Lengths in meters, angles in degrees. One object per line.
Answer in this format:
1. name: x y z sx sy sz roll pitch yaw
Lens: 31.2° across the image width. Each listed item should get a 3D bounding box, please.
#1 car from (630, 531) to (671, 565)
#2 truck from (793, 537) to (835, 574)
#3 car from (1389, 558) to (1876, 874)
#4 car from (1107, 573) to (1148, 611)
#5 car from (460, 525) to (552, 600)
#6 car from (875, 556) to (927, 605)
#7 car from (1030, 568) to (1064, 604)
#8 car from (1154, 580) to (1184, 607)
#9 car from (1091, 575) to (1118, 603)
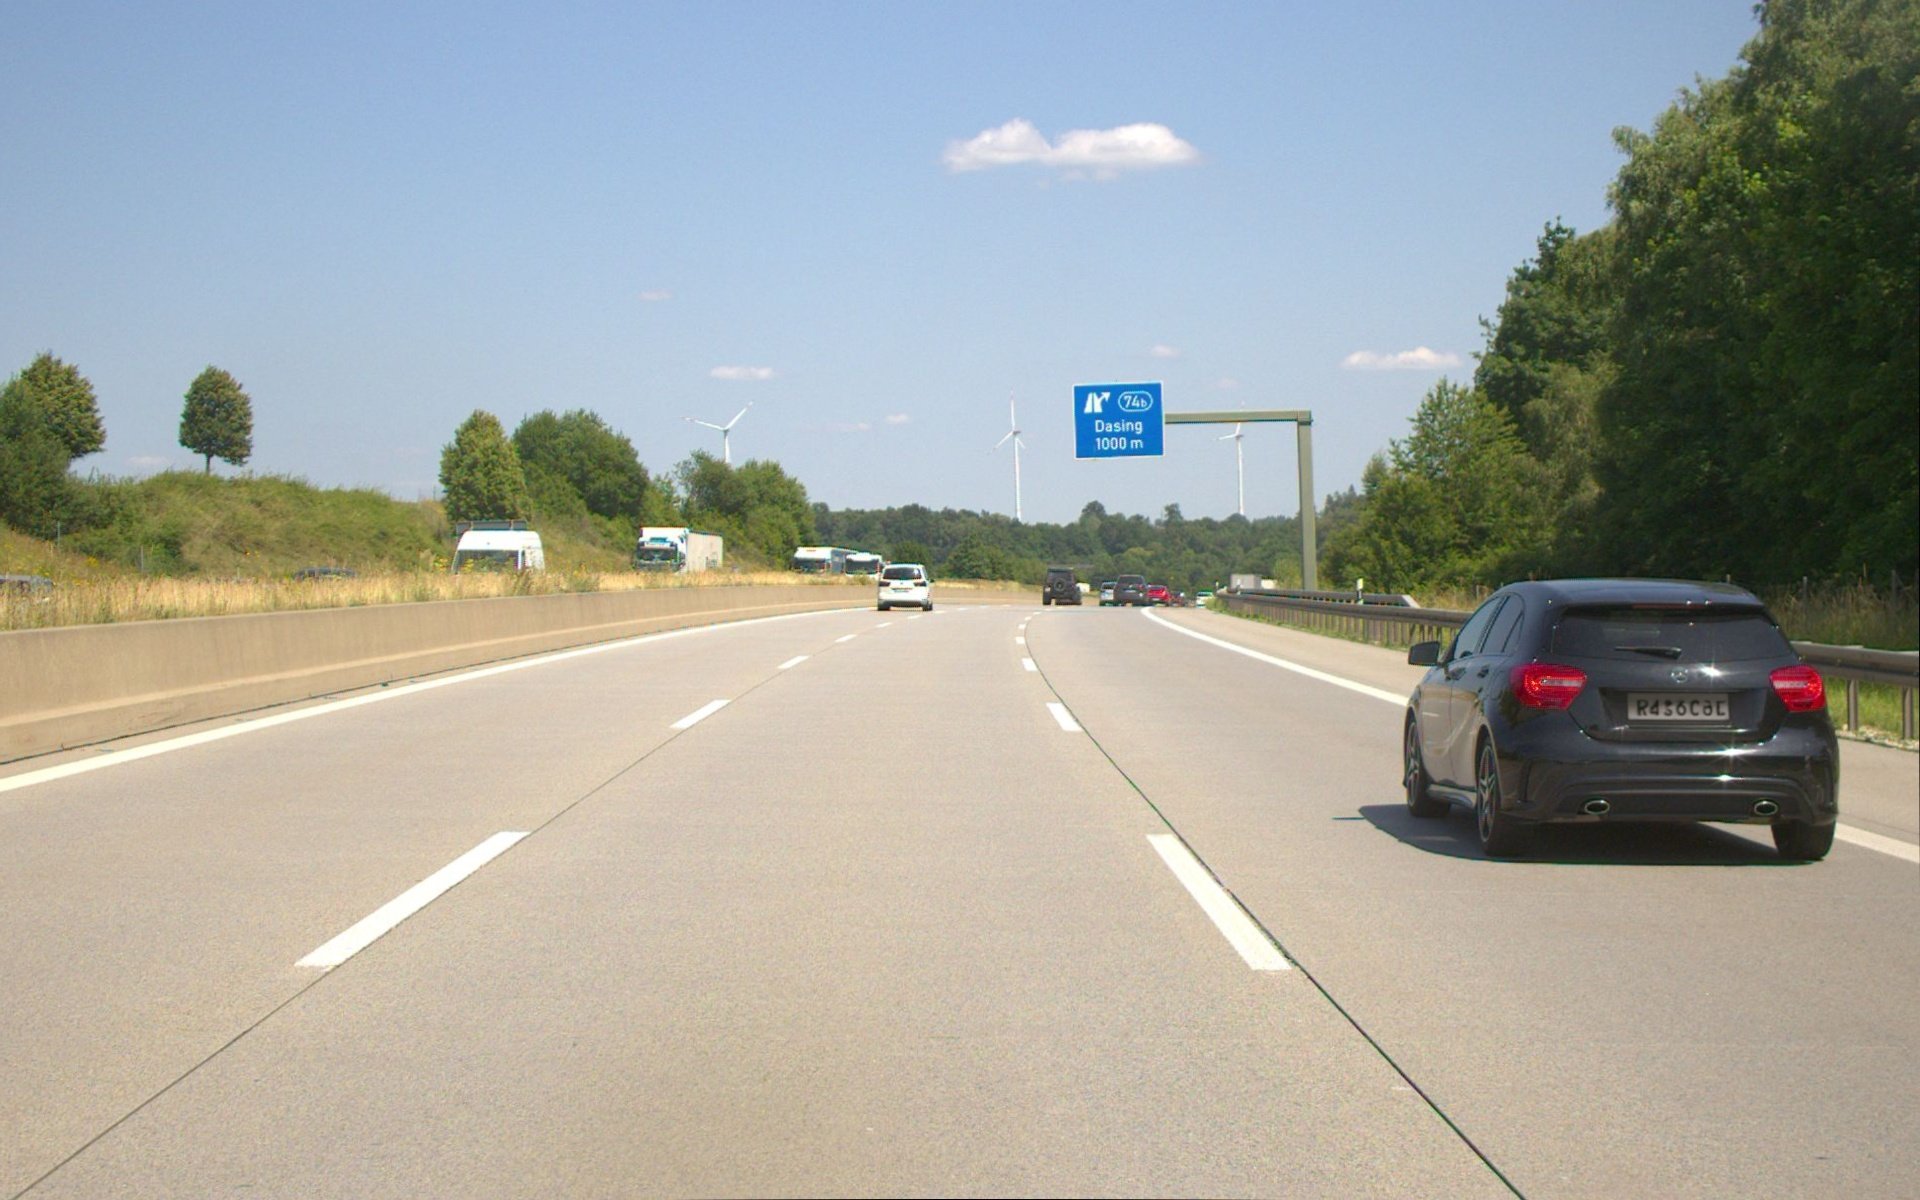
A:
1. car: -16.629 -2.814 184.664 1.863 1.809 4.000 0 1 -1
2. truck: -10.639 -3.245 250.996 2.710 2.650 10.183 0 1 -1
3. car: 3.521 0.536 18.775 1.910 1.487 4.192 1 1 2
4. car: 8.722 -0.446 179.518 1.827 1.900 4.000 0 1 -2
5. car: -12.385 -1.033 93.977 1.993 2.007 4.000 1 1 -1
6. car: -2.146 -0.734 125.934 1.845 1.702 6.036 1 1 -1
7. car: 4.835 -0.777 191.667 1.827 1.931 3.809 0 1 0
8. car: 14.495 -0.447 238.731 1.788 1.804 3.746 0 1 -1
9. car: 10.687 -0.833 255.238 1.744 1.983 4.000 0 1 -1
